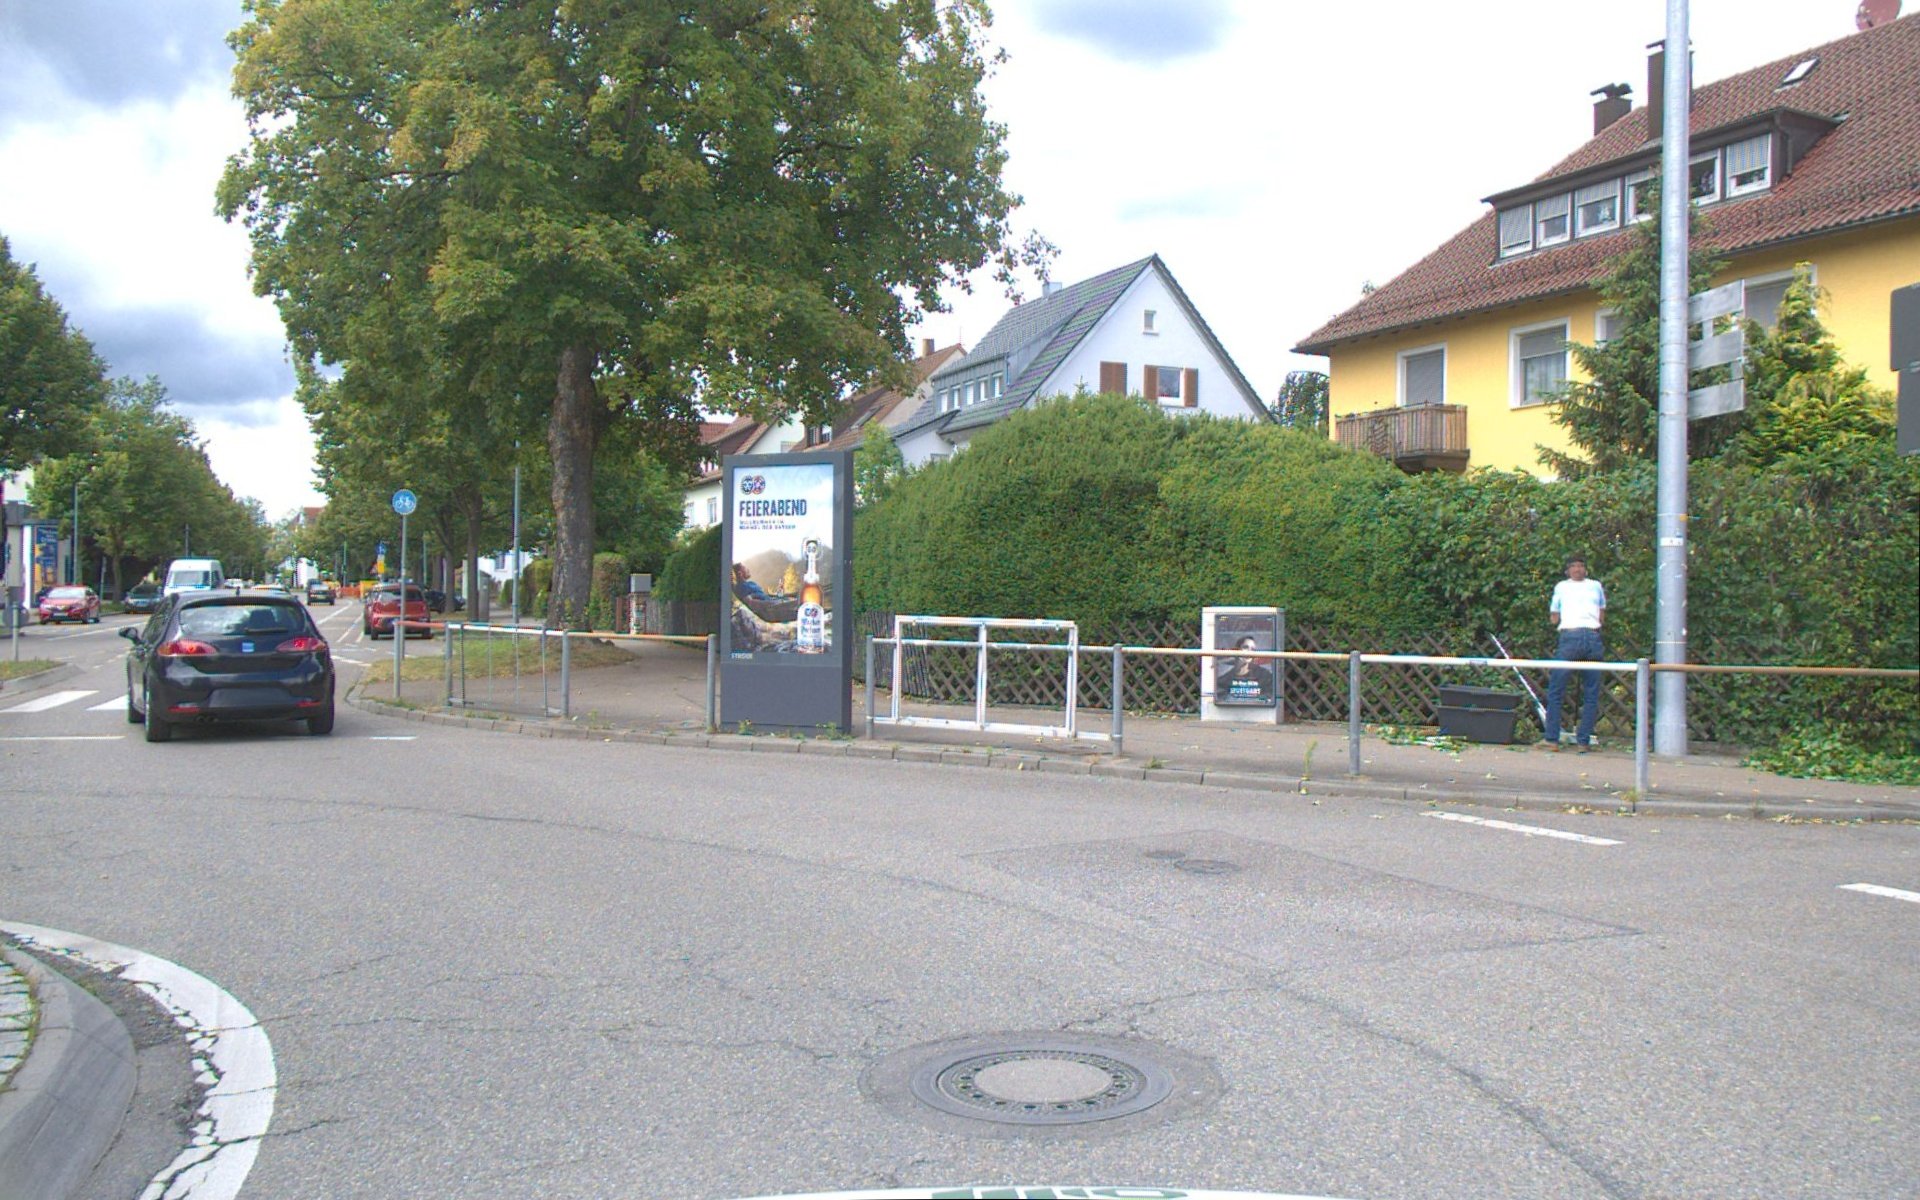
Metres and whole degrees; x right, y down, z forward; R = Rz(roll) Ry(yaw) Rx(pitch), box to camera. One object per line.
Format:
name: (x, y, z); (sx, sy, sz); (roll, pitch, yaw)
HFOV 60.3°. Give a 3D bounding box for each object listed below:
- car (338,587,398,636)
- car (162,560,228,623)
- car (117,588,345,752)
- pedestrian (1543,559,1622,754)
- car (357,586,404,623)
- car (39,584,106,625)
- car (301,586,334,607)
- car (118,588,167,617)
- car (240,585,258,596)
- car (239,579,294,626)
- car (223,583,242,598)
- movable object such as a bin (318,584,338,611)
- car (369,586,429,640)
car: (-18.584, 0.325, 51.845); (1.629, 1.440, 4.150); (-2, 1, -21)
car: (-34.590, -0.407, 74.906); (1.987, 2.720, 5.776); (0, 1, -18)
car: (-7.679, 0.628, 17.242); (1.800, 1.463, 3.702); (-1, 1, -30)
pedestrian: (5.537, 0.487, 14.703); (0.638, 1.685, 0.594); (0, 0, 21)
car: (-23.674, 0.161, 67.504); (1.629, 1.440, 4.150); (-2, 1, -21)
car: (-35.703, 0.156, 66.636); (1.659, 1.568, 4.111); (0, 1, -18)
car: (-45.152, -0.247, 116.177); (1.789, 1.399, 3.660); (-1, 1, -27)
car: (-43.315, 0.116, 87.710); (1.705, 1.494, 4.278); (-1, 1, -19)
car: (-100.954, -1.342, 234.816); (1.792, 1.440, 3.654); (-1, 1, -31)
car: (-26.754, 0.066, 63.923); (1.879, 1.715, 3.715); (-1, 1, -22)
car: (-95.153, -1.236, 216.486); (1.937, 1.862, 4.791); (0, 1, -20)
movable object such as a bin: (-62.274, -0.258, 163.022); (1.744, 2.619, 3.715); (0, 1, -22)
car: (-16.006, 0.356, 47.126); (1.542, 1.481, 3.647); (0, 0, -20)
